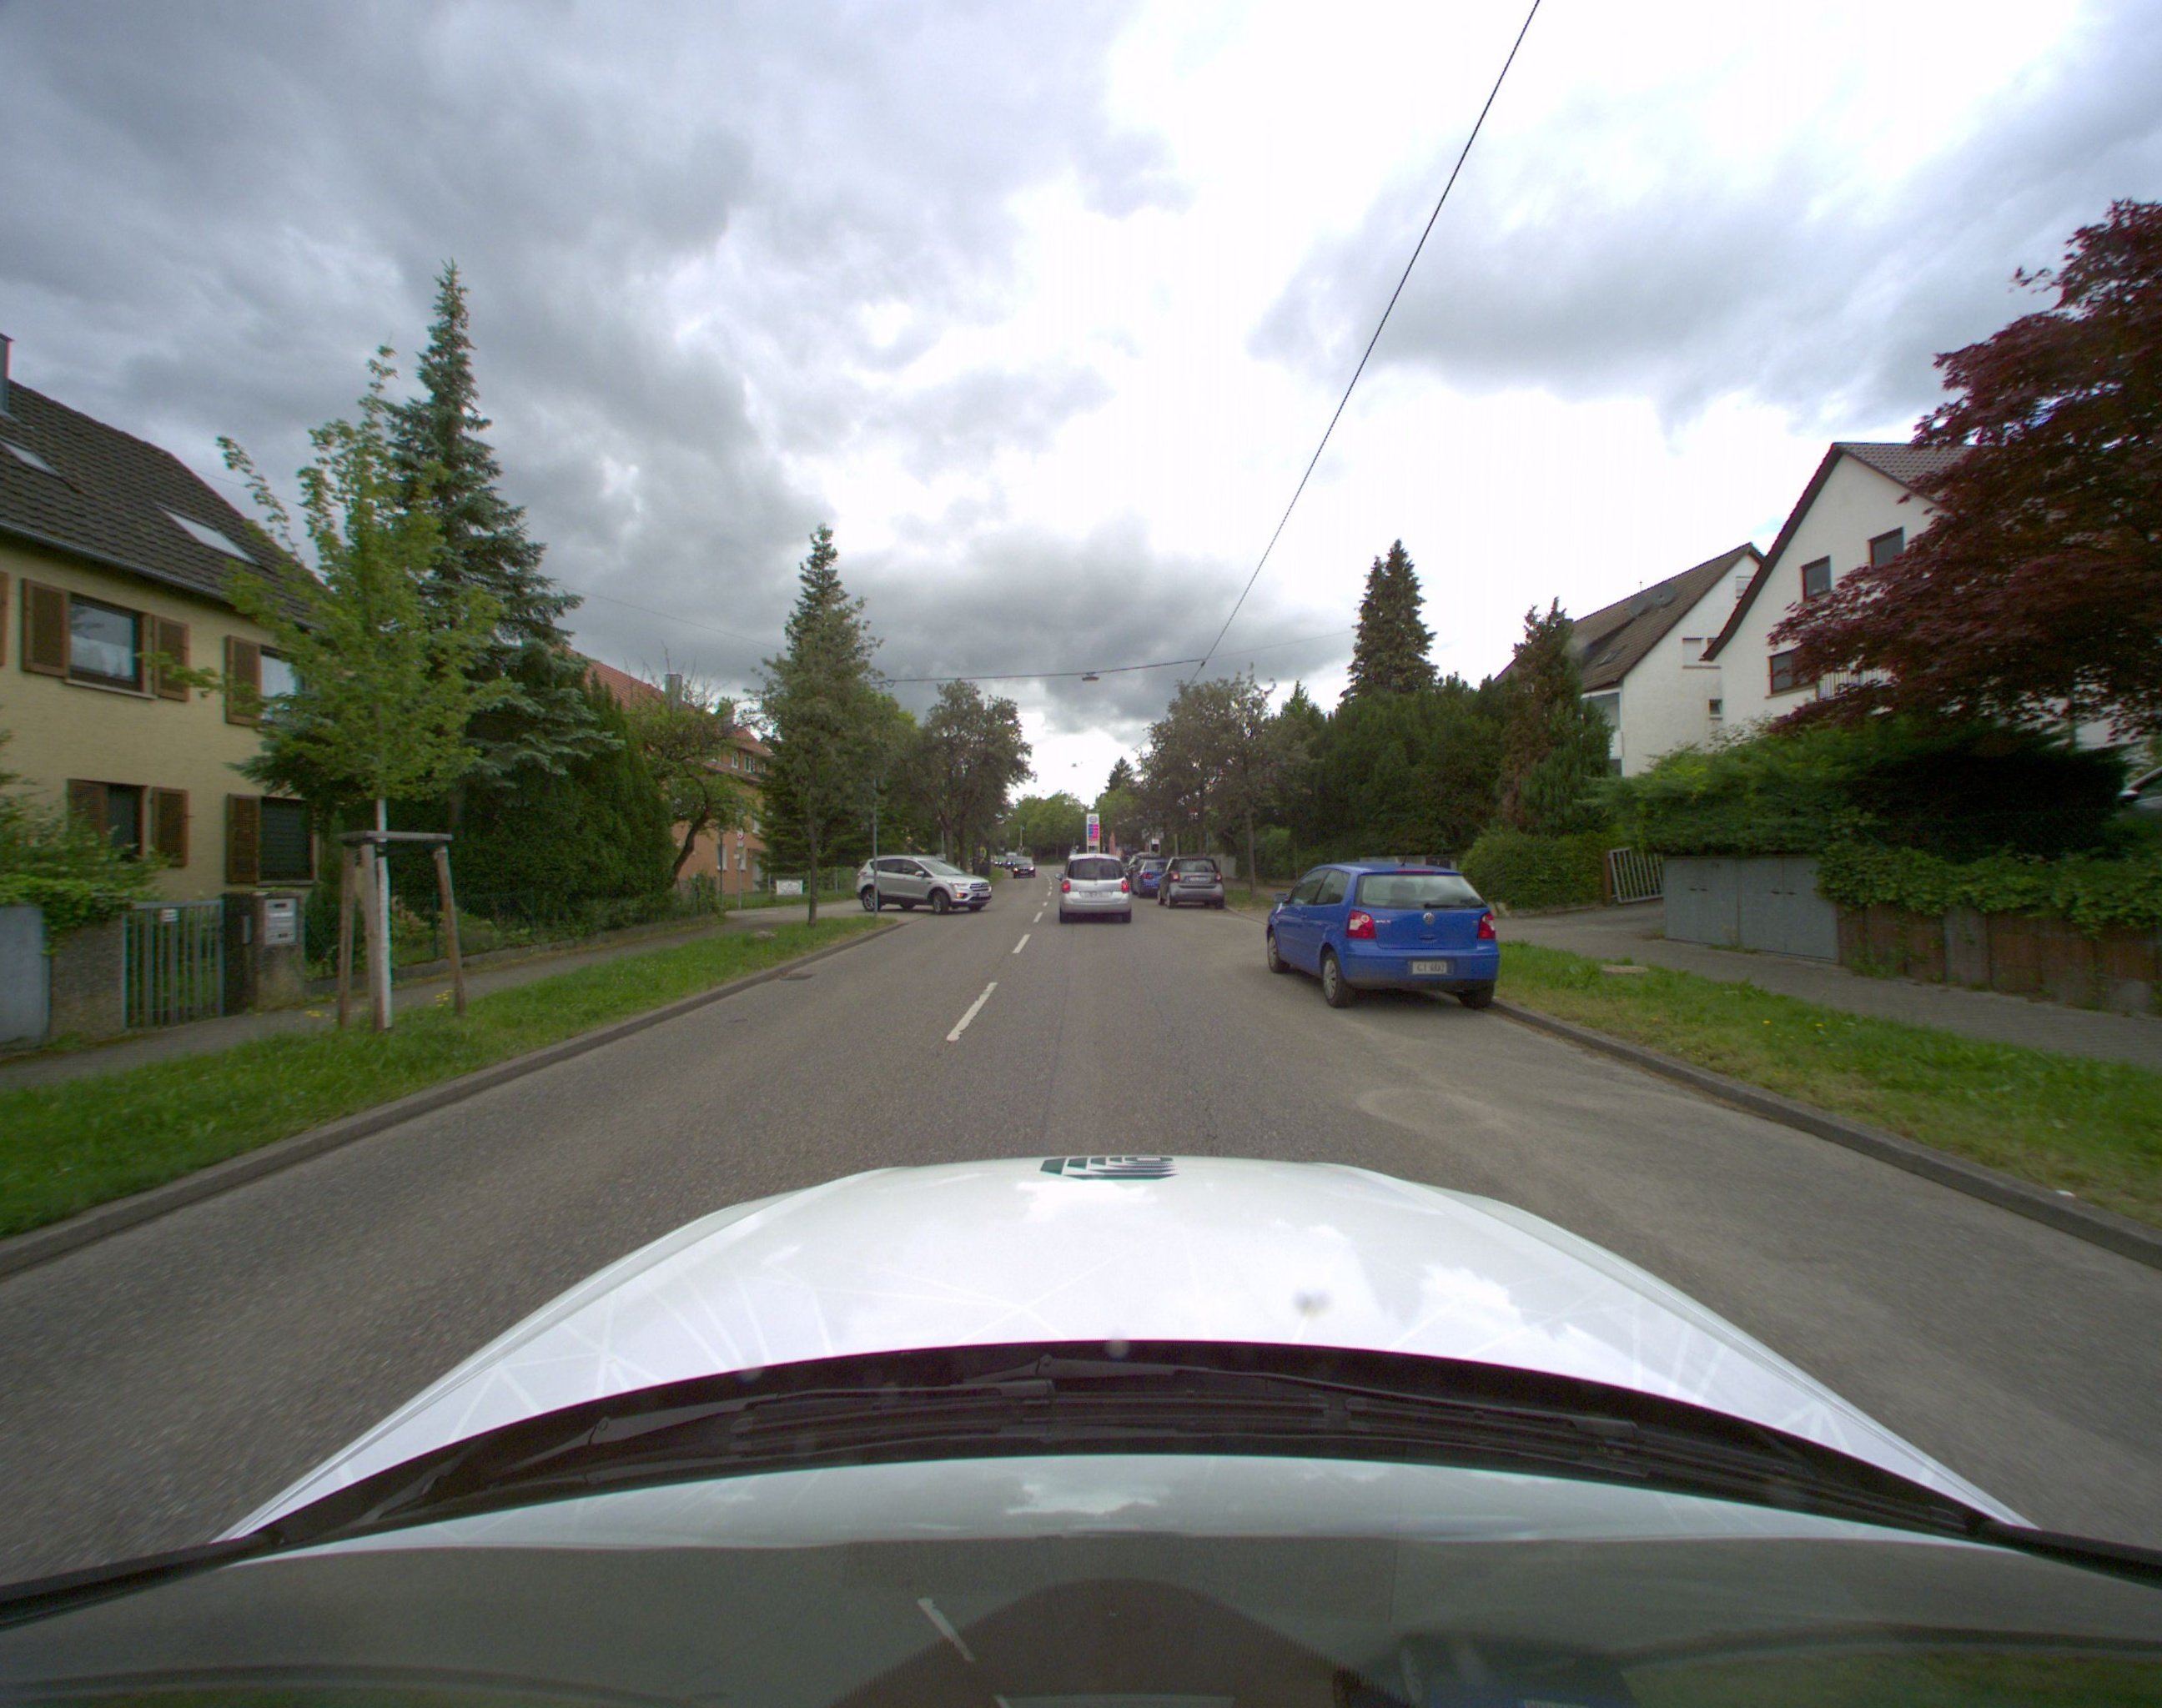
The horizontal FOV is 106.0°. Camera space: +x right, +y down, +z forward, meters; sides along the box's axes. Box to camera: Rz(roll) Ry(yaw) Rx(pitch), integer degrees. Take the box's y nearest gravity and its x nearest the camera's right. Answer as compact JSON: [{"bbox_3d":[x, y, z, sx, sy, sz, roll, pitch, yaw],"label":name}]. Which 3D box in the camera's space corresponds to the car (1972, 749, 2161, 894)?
[{"bbox_3d":[14.139,-0.545,9.654,1.775,1.679,4.527,-5,-5,-5],"label":"car"}]

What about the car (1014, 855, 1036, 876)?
[{"bbox_3d":[-4.150,0.823,60.260,1.542,1.470,3.736,-2,0,-4],"label":"car"}]

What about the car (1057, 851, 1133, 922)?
[{"bbox_3d":[0.329,0.712,19.710,1.674,1.560,3.511,0,0,0],"label":"car"}]

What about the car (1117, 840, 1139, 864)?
[{"bbox_3d":[5.884,-0.209,101.715,2.275,2.911,5.275,1,0,-2],"label":"car"}]

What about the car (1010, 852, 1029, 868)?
[{"bbox_3d":[-6.305,0.584,83.756,1.789,1.555,3.668,-3,0,-3],"label":"car"}]

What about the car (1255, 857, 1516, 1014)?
[{"bbox_3d":[3.287,0.775,9.601,1.621,1.452,3.875,1,0,0],"label":"car"}]

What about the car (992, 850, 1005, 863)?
[{"bbox_3d":[-13.541,0.404,133.946,1.930,2.013,3.994,-1,0,-4],"label":"car"}]

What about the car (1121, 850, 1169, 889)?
[{"bbox_3d":[2.764,0.634,35.900,1.690,1.570,3.953,-1,0,-1],"label":"car"}]

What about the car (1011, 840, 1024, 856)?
[{"bbox_3d":[-9.680,-0.939,124.025,1.930,2.408,3.994,-1,0,-4],"label":"car"}]

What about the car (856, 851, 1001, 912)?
[{"bbox_3d":[-4.638,0.796,24.638,4.048,1.706,1.758,-1,0,28],"label":"car"}]

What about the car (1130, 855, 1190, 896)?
[{"bbox_3d":[2.884,0.761,30.598,1.692,1.433,4.336,0,0,-2],"label":"car"}]

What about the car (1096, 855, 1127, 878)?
[{"bbox_3d":[2.080,0.825,56.444,1.692,1.506,3.966,-1,0,-4],"label":"car"}]

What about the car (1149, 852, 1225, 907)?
[{"bbox_3d":[3.200,0.732,25.208,1.691,1.557,3.952,1,0,-2],"label":"car"}]
